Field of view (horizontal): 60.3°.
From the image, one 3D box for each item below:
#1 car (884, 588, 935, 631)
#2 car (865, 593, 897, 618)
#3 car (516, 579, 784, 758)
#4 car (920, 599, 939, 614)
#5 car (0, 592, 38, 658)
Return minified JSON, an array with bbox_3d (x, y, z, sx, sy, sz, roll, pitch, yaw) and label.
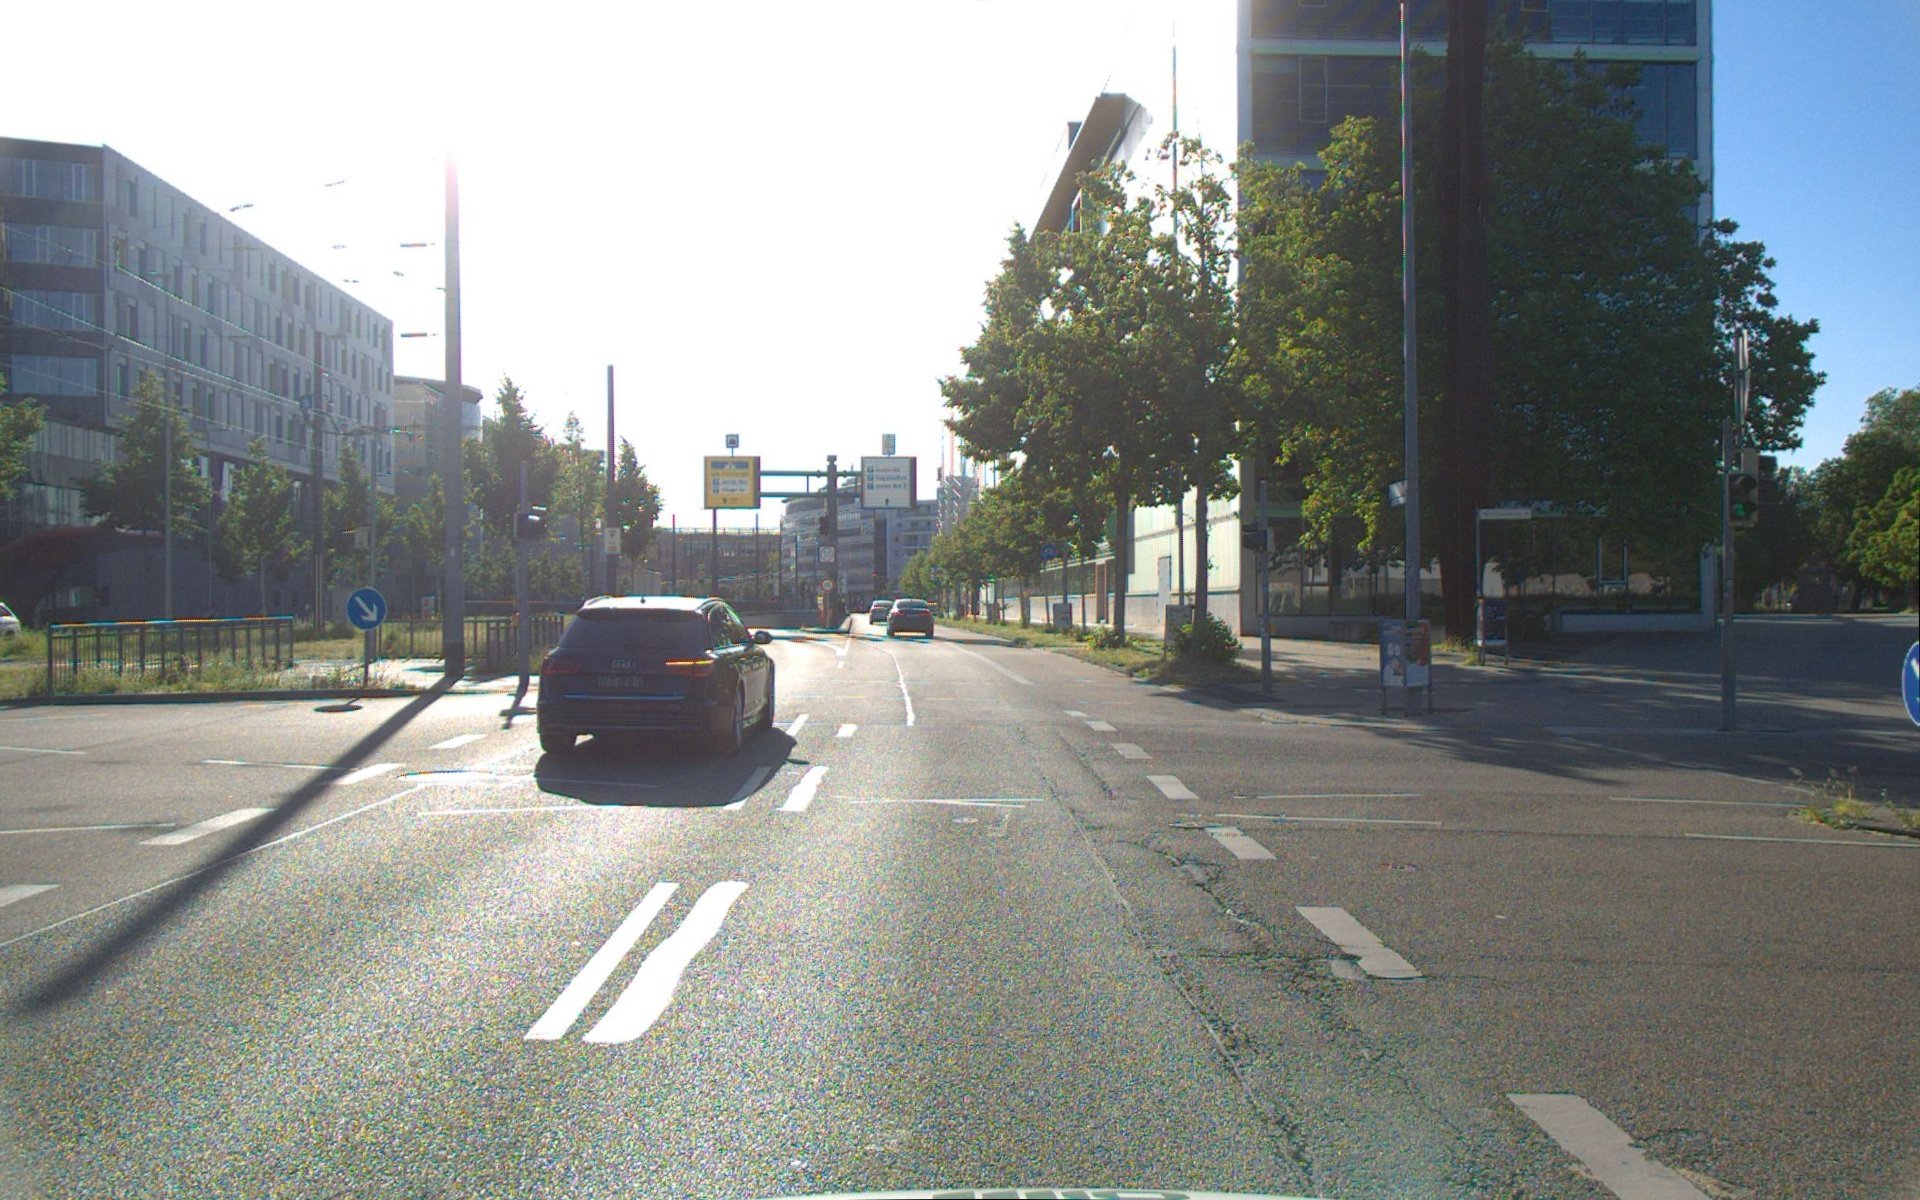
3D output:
[{"bbox_3d":[-1.990,0.344,63.986,1.816,1.573,3.997,1,0,-4],"label":"car"},{"bbox_3d":[-5.028,0.312,105.543,1.954,1.491,3.998,1,1,-3],"label":"car"},{"bbox_3d":[-2.916,0.556,16.563,1.775,1.452,4.690,-1,2,0],"label":"car"},{"bbox_3d":[-3.356,0.717,180.837,1.816,1.507,4.849,-2,0,-4],"label":"car"},{"bbox_3d":[-24.016,0.608,39.152,1.954,1.589,4.867,0,0,-5],"label":"car"}]
